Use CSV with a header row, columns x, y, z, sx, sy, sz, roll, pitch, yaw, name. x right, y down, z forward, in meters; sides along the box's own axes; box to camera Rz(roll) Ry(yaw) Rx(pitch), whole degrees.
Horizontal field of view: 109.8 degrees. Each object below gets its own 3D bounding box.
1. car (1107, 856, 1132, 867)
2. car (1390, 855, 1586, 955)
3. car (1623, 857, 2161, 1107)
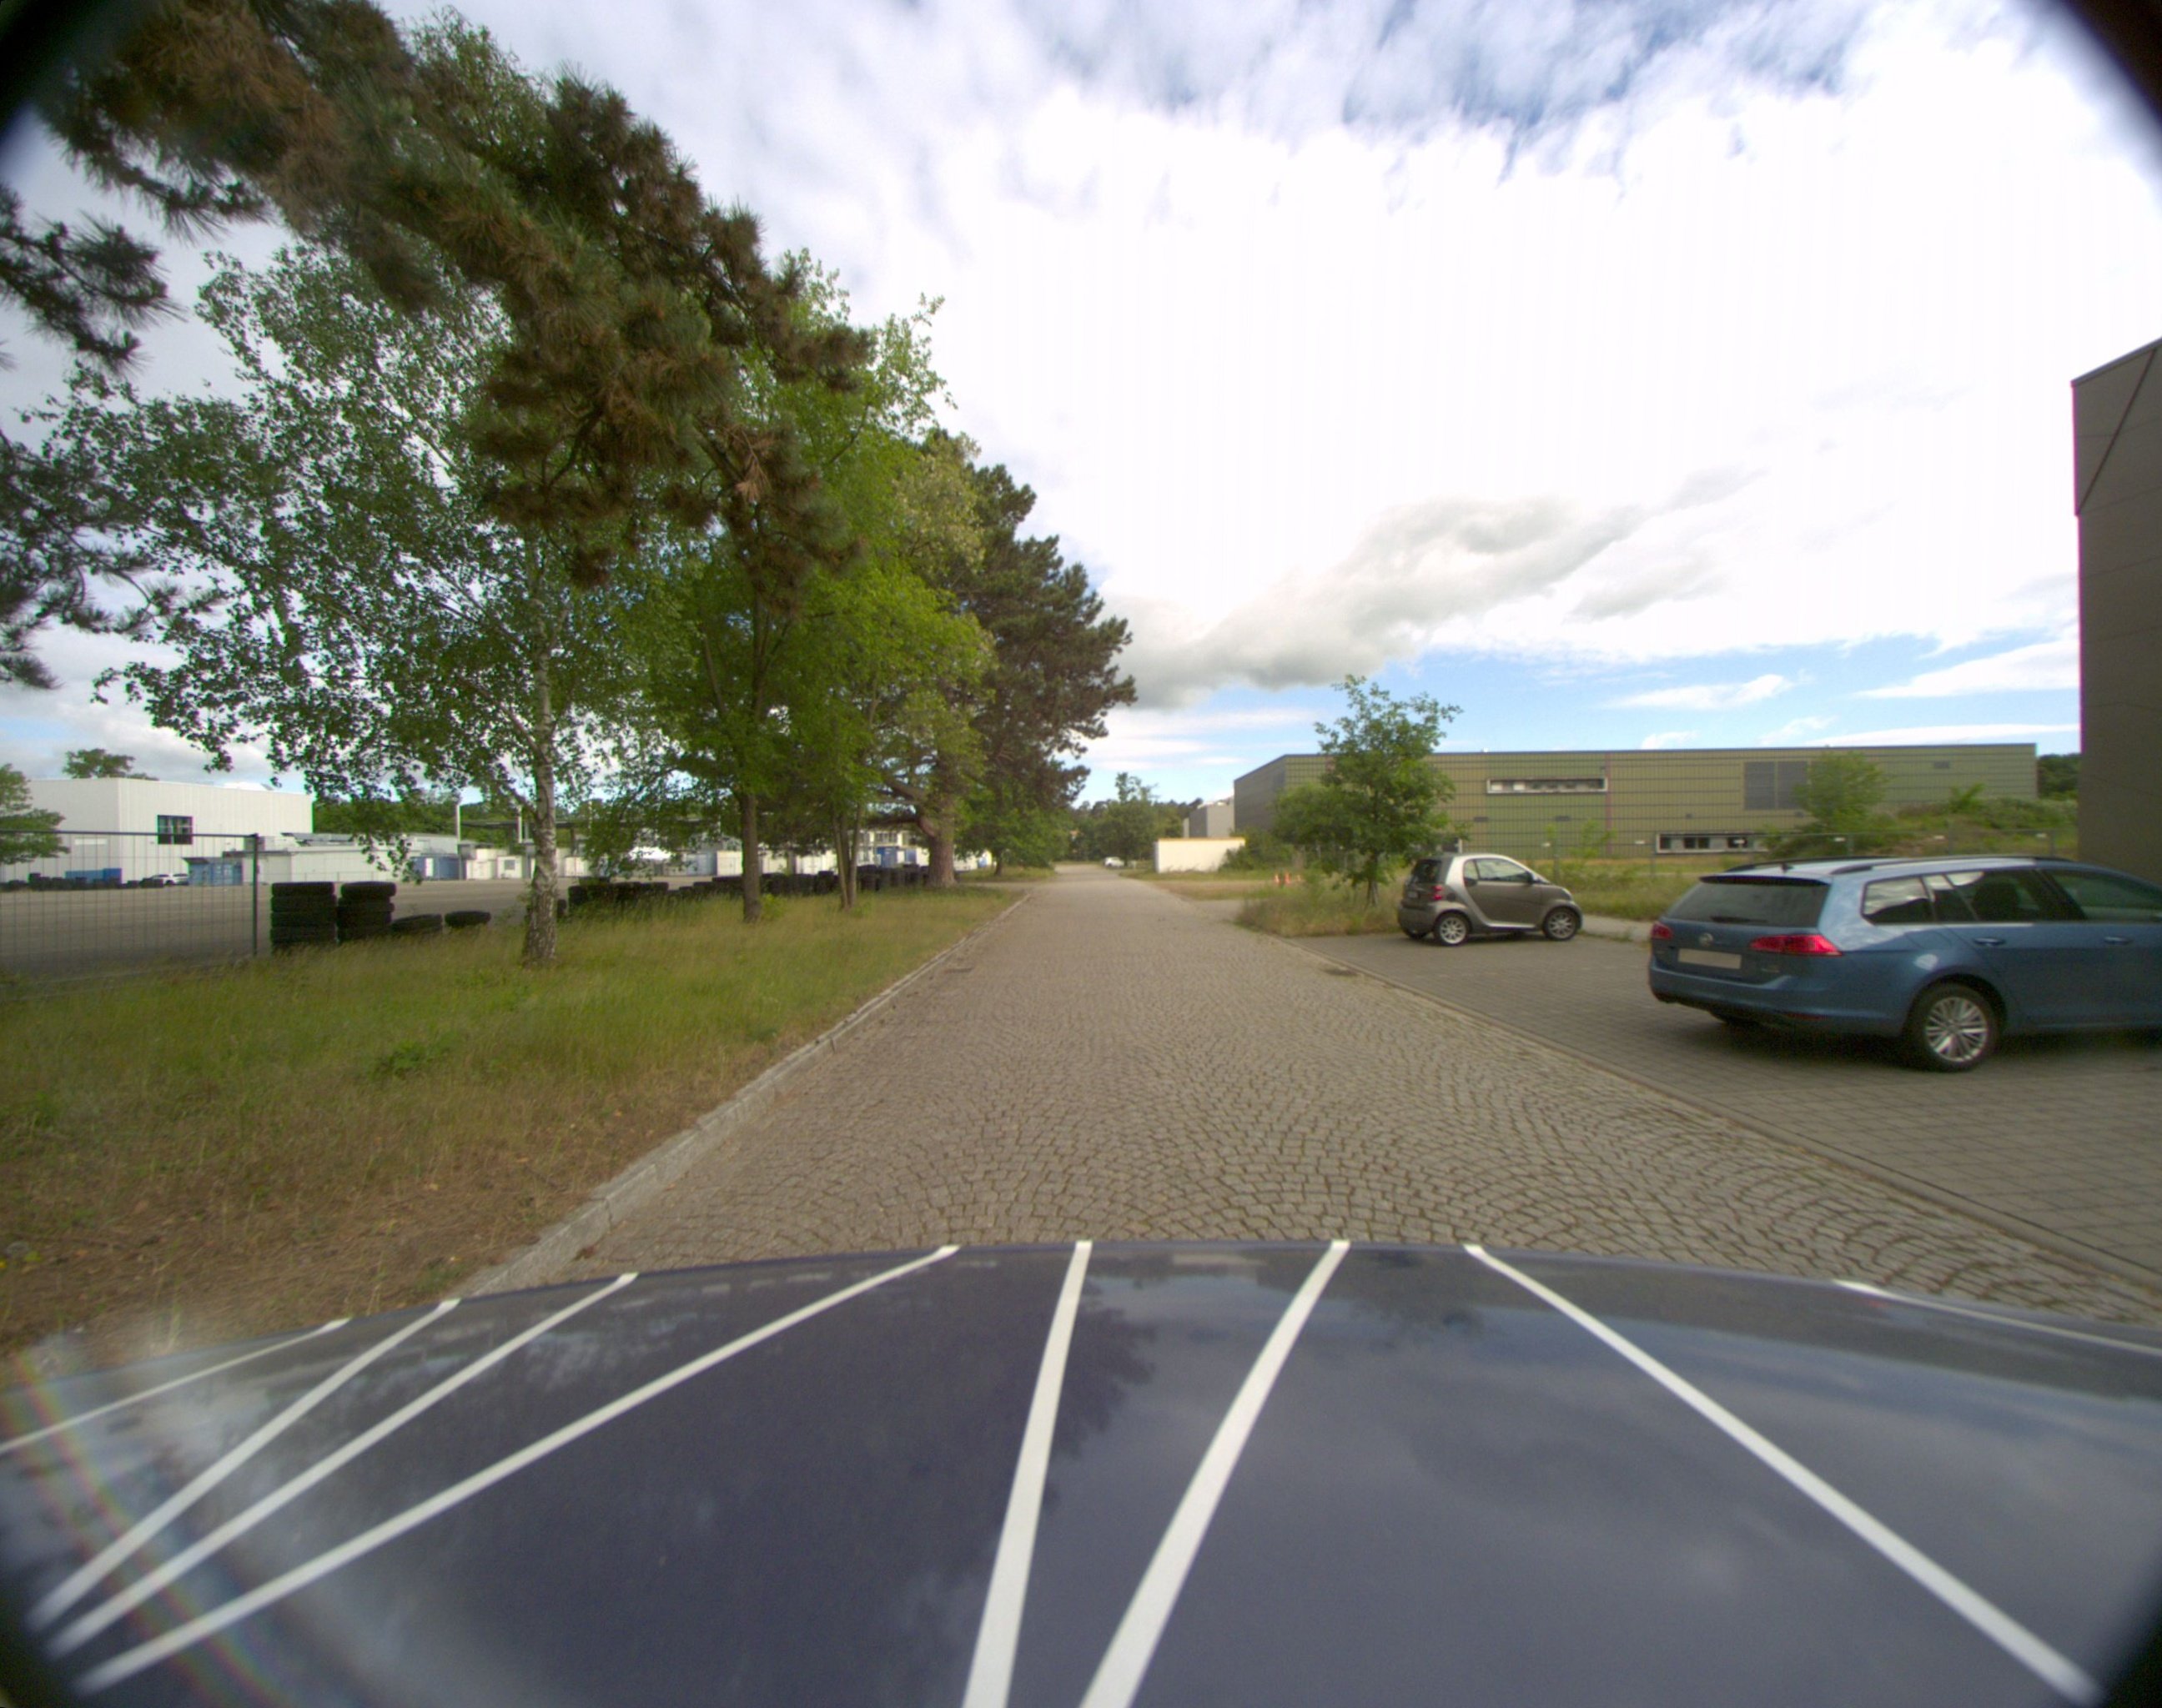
x,y,z,sx,sy,sz,roll,pitch,yaw,name
6.320,1.271,125.827,4.062,1.767,1.792,-1,0,-1,car
7.084,0.849,13.391,2.584,1.521,1.500,-3,1,-2,car
7.076,0.868,6.022,4.427,1.461,1.633,-3,0,-2,car
